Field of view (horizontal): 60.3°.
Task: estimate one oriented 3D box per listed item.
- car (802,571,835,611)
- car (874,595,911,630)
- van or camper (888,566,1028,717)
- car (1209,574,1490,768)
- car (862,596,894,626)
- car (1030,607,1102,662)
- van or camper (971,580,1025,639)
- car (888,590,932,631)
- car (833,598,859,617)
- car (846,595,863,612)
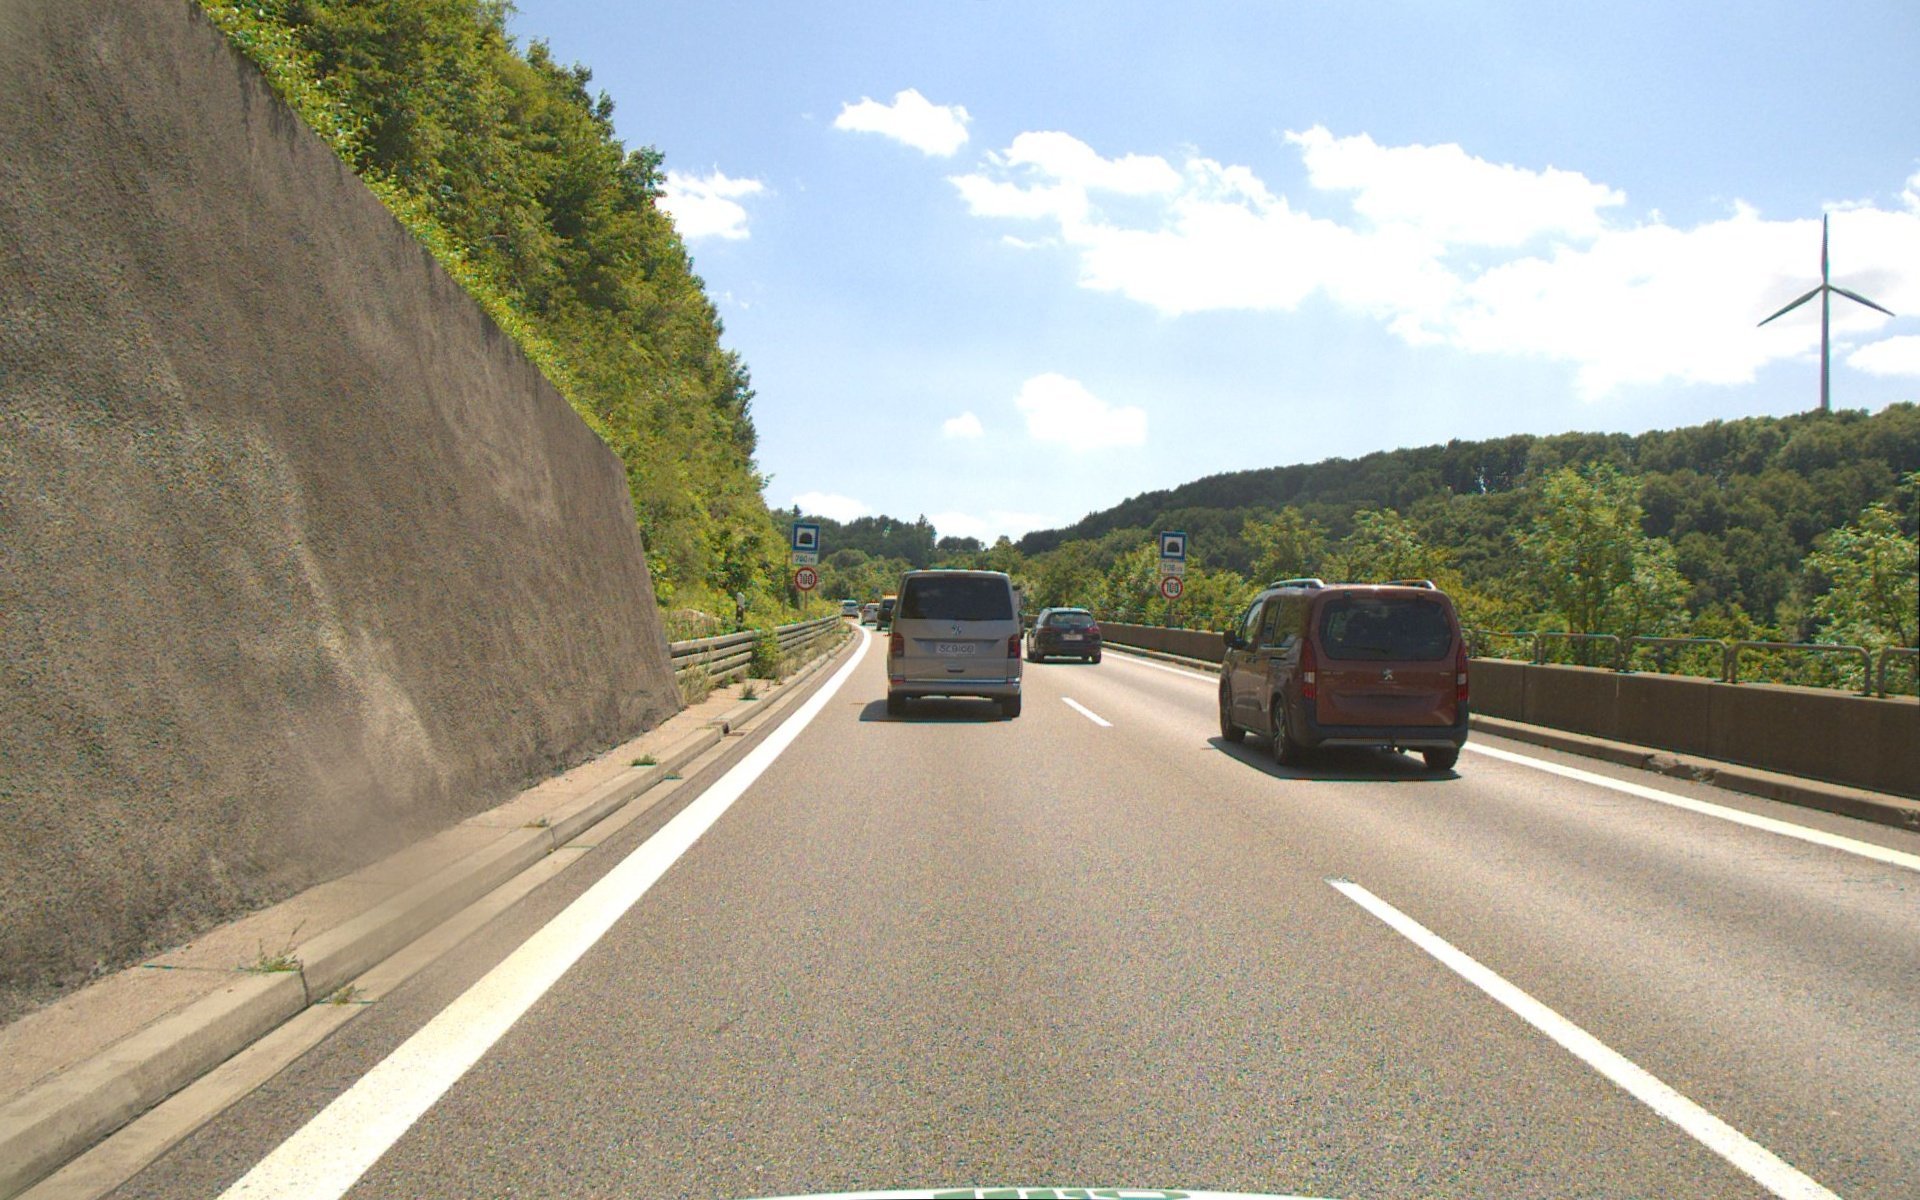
[{"bbox_3d":[-18.172,-1.074,211.344,3.965,4.957,10.096,1,0,-6],"label":"car"},{"bbox_3d":[-3.803,0.683,92.603,1.954,1.849,3.997,1,0,-3],"label":"car"},{"bbox_3d":[-0.088,0.553,23.860,1.838,1.984,4.292,0,0,-2],"label":"van or camper"},{"bbox_3d":[4.006,0.692,17.849,1.796,1.815,4.674,0,-1,-2],"label":"car"},{"bbox_3d":[-5.611,0.754,112.356,1.955,1.948,3.995,1,0,-6],"label":"car"},{"bbox_3d":[2.857,0.920,45.356,1.732,1.400,3.592,1,0,0],"label":"car"},{"bbox_3d":[1.695,0.440,75.368,2.218,2.596,4.735,-1,0,-1],"label":"van or camper"},{"bbox_3d":[-2.379,0.486,77.826,1.954,1.849,3.997,1,0,-3],"label":"car"},{"bbox_3d":[-10.108,0.653,146.861,2.101,1.635,5.071,-1,-1,-6],"label":"car"},{"bbox_3d":[-12.801,0.445,200.874,1.955,2.049,3.995,1,0,-6],"label":"car"}]
